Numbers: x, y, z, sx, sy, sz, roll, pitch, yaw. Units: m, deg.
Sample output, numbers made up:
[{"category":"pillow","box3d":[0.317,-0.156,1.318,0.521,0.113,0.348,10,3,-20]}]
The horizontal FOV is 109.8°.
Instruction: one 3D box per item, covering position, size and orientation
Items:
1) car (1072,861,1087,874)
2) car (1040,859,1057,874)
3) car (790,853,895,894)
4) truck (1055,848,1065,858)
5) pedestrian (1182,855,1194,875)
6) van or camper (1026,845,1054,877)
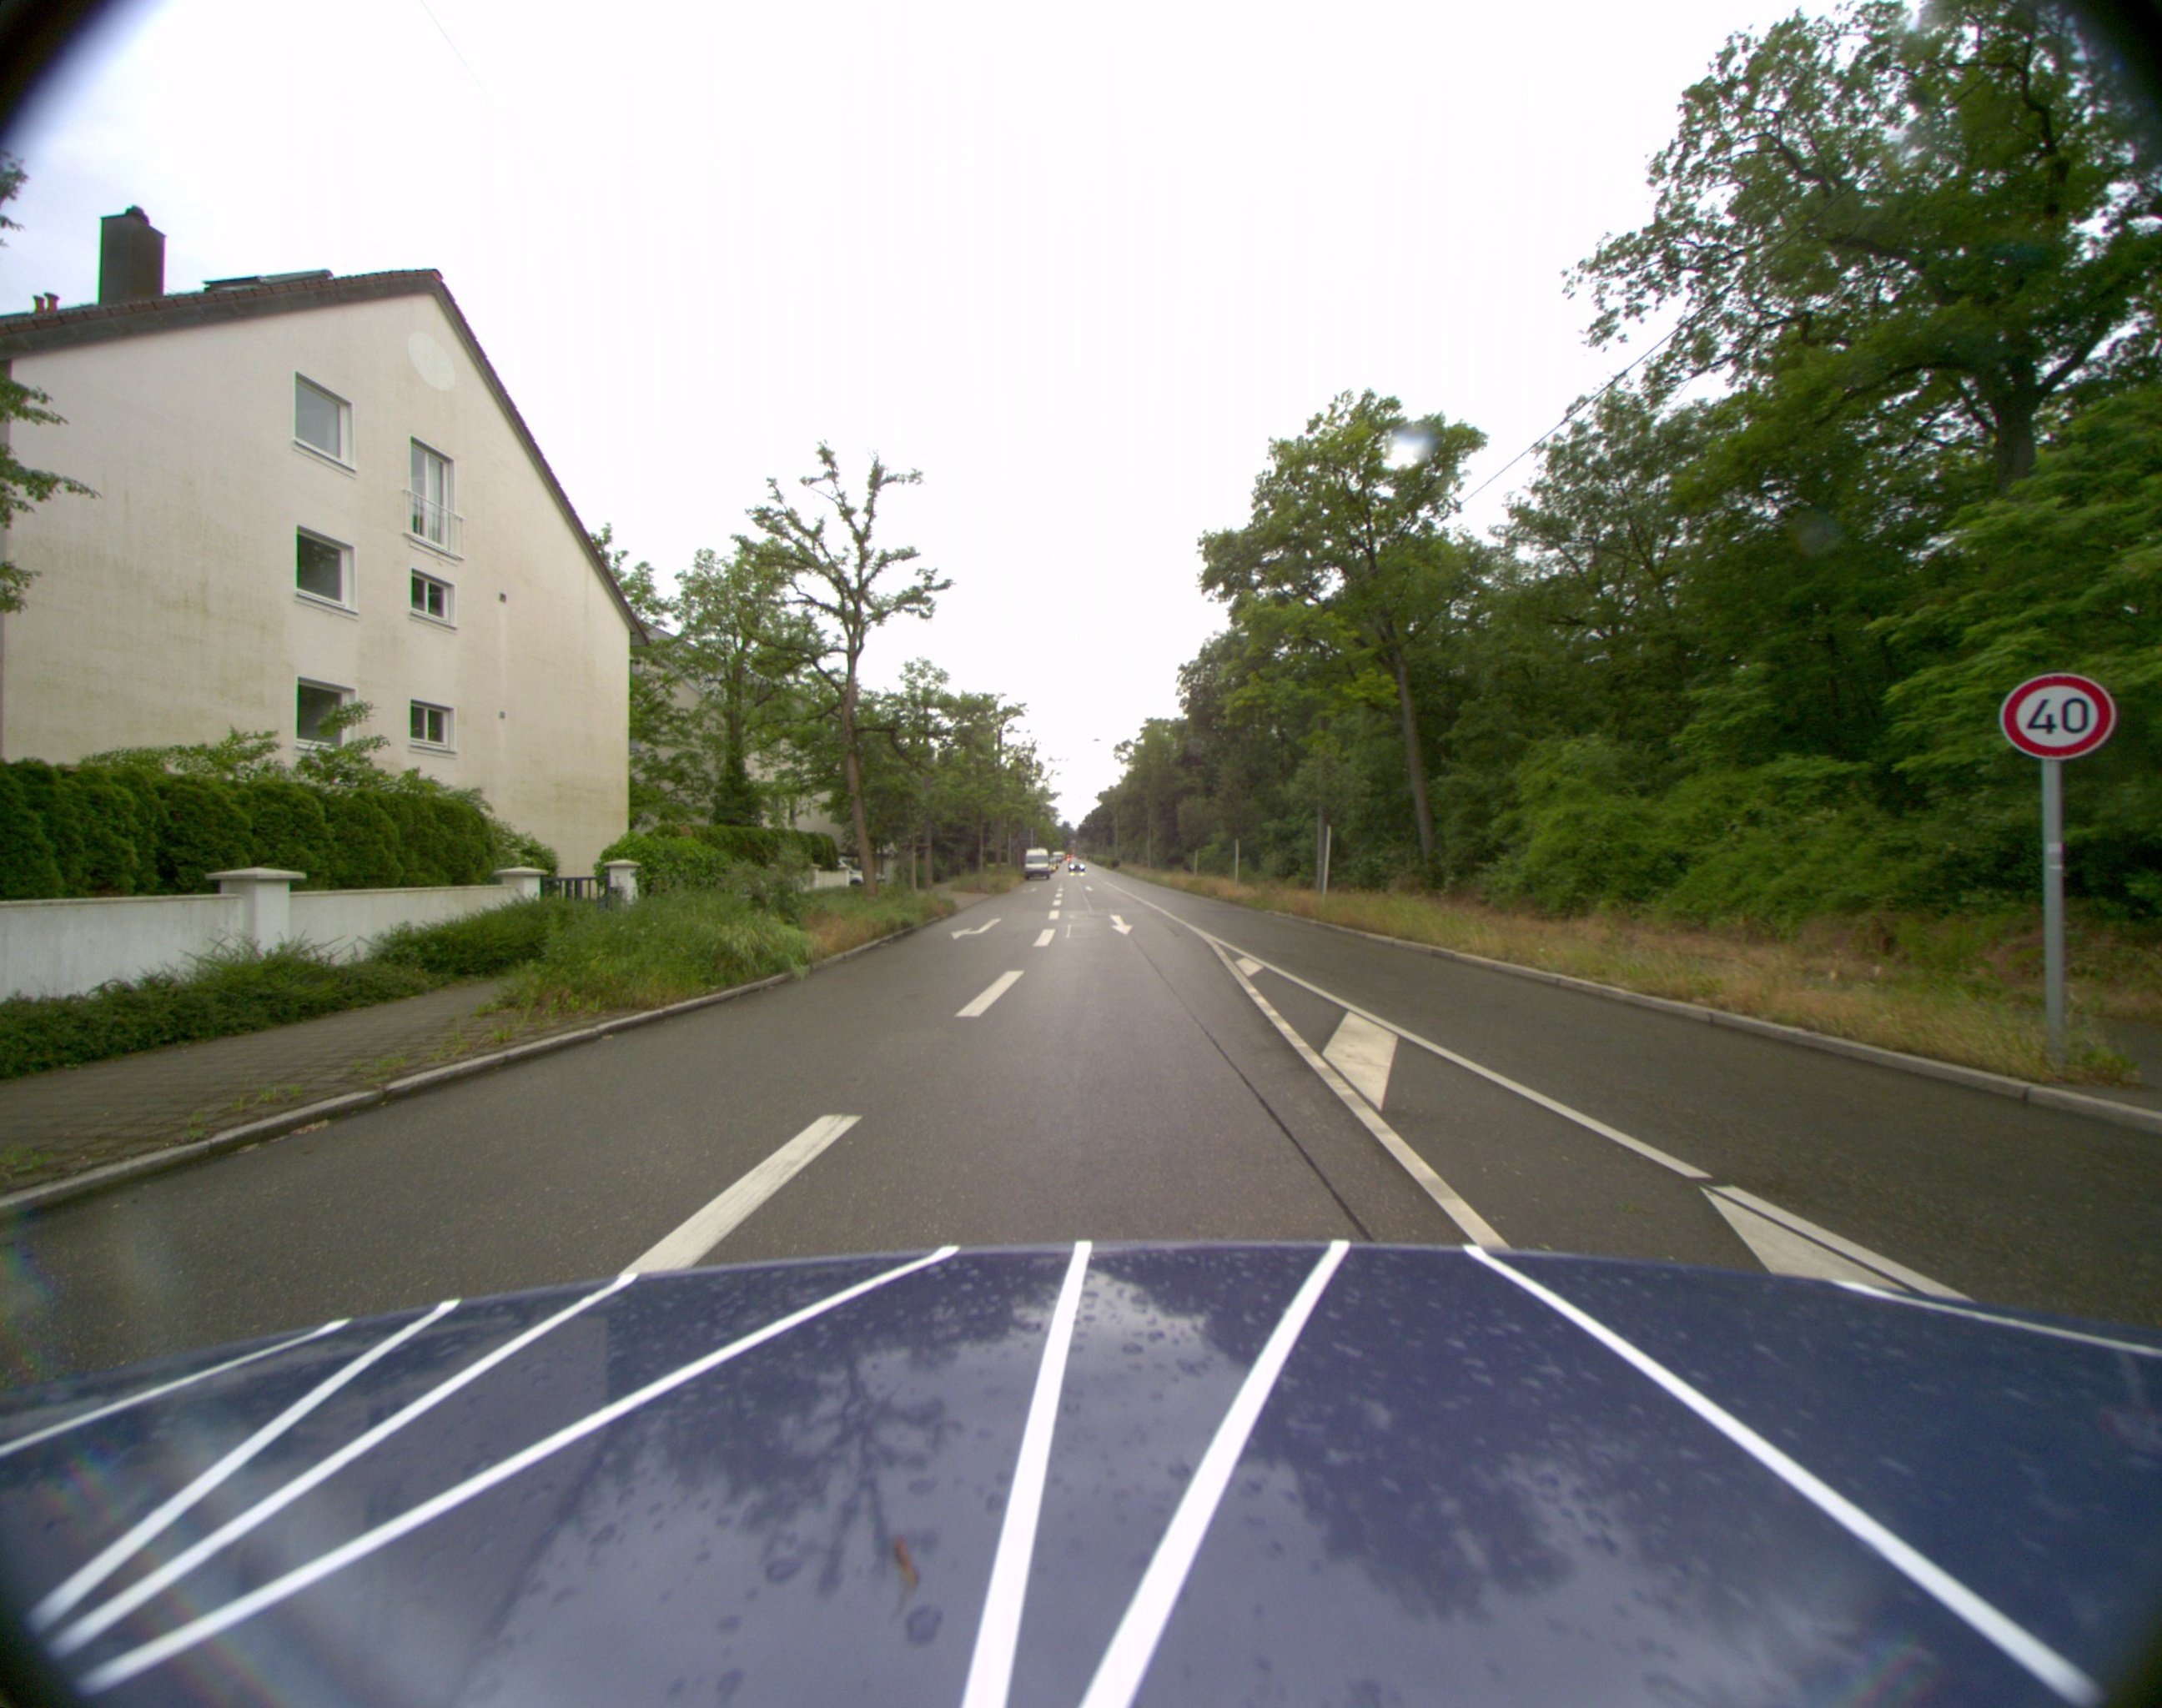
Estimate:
[{"category":"car","box3d":[-0.215,1.579,89.461,1.622,1.459,4.409,-2,0,-2]},{"category":"car","box3d":[-3.478,1.289,81.540,1.576,1.463,3.764,-2,0,-1]},{"category":"car","box3d":[-11.207,0.924,35.853,4.312,1.807,1.876,-1,0,10]},{"category":"truck","box3d":[-4.859,-0.294,173.465,2.230,2.321,5.112,1,0,-2]},{"category":"pedestrian","box3d":[8.620,0.902,61.294,0.783,1.598,0.732,0,1,-2]},{"category":"van or camper","box3d":[-3.383,0.535,63.474,2.042,2.465,5.637,-3,0,-1]}]
